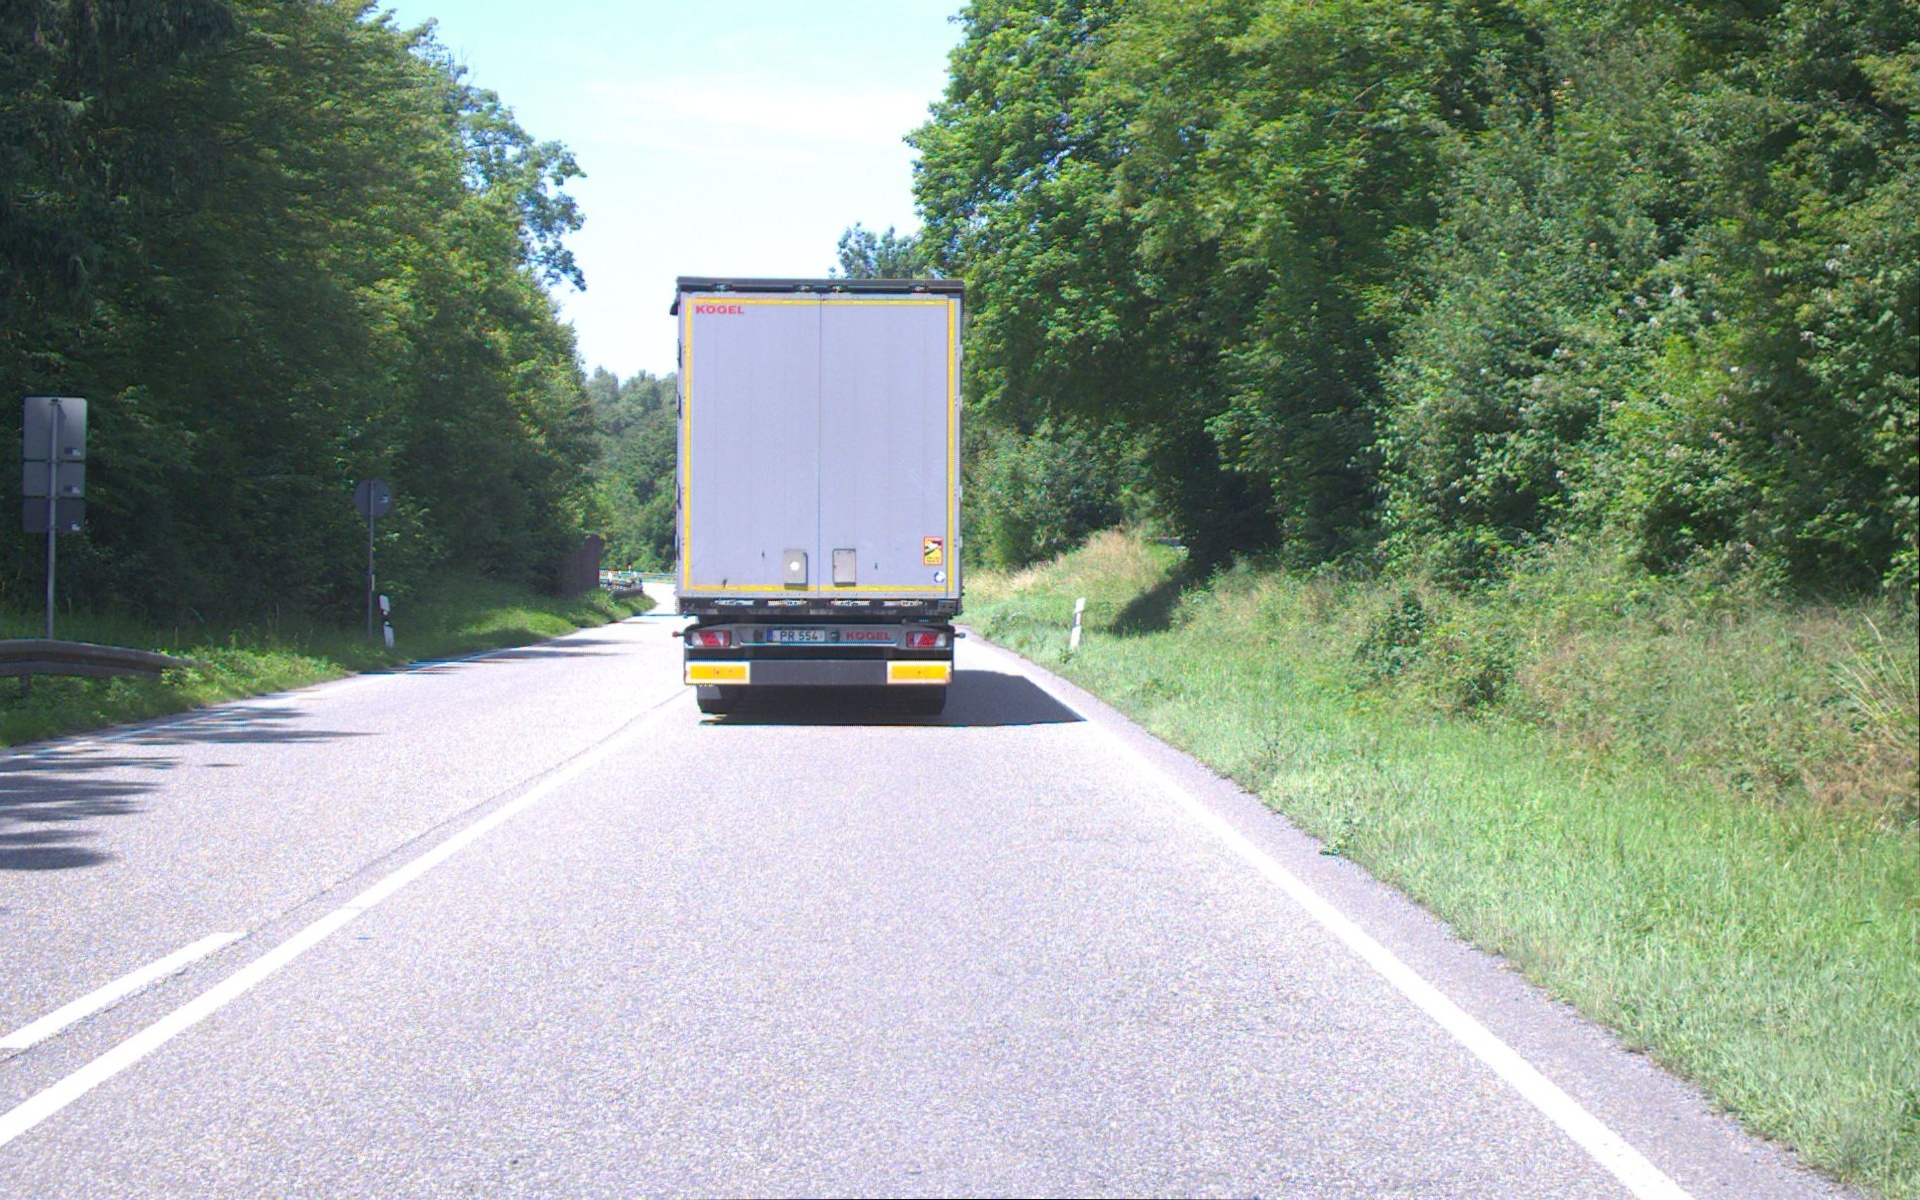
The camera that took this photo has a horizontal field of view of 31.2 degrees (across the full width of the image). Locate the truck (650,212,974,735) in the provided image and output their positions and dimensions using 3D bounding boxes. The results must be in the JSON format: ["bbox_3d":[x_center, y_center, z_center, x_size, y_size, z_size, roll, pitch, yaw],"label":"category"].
[{"bbox_3d":[-1.315,-1.145,33.665,2.822,4.588,6.665,0,0,0],"label":"truck"}]
